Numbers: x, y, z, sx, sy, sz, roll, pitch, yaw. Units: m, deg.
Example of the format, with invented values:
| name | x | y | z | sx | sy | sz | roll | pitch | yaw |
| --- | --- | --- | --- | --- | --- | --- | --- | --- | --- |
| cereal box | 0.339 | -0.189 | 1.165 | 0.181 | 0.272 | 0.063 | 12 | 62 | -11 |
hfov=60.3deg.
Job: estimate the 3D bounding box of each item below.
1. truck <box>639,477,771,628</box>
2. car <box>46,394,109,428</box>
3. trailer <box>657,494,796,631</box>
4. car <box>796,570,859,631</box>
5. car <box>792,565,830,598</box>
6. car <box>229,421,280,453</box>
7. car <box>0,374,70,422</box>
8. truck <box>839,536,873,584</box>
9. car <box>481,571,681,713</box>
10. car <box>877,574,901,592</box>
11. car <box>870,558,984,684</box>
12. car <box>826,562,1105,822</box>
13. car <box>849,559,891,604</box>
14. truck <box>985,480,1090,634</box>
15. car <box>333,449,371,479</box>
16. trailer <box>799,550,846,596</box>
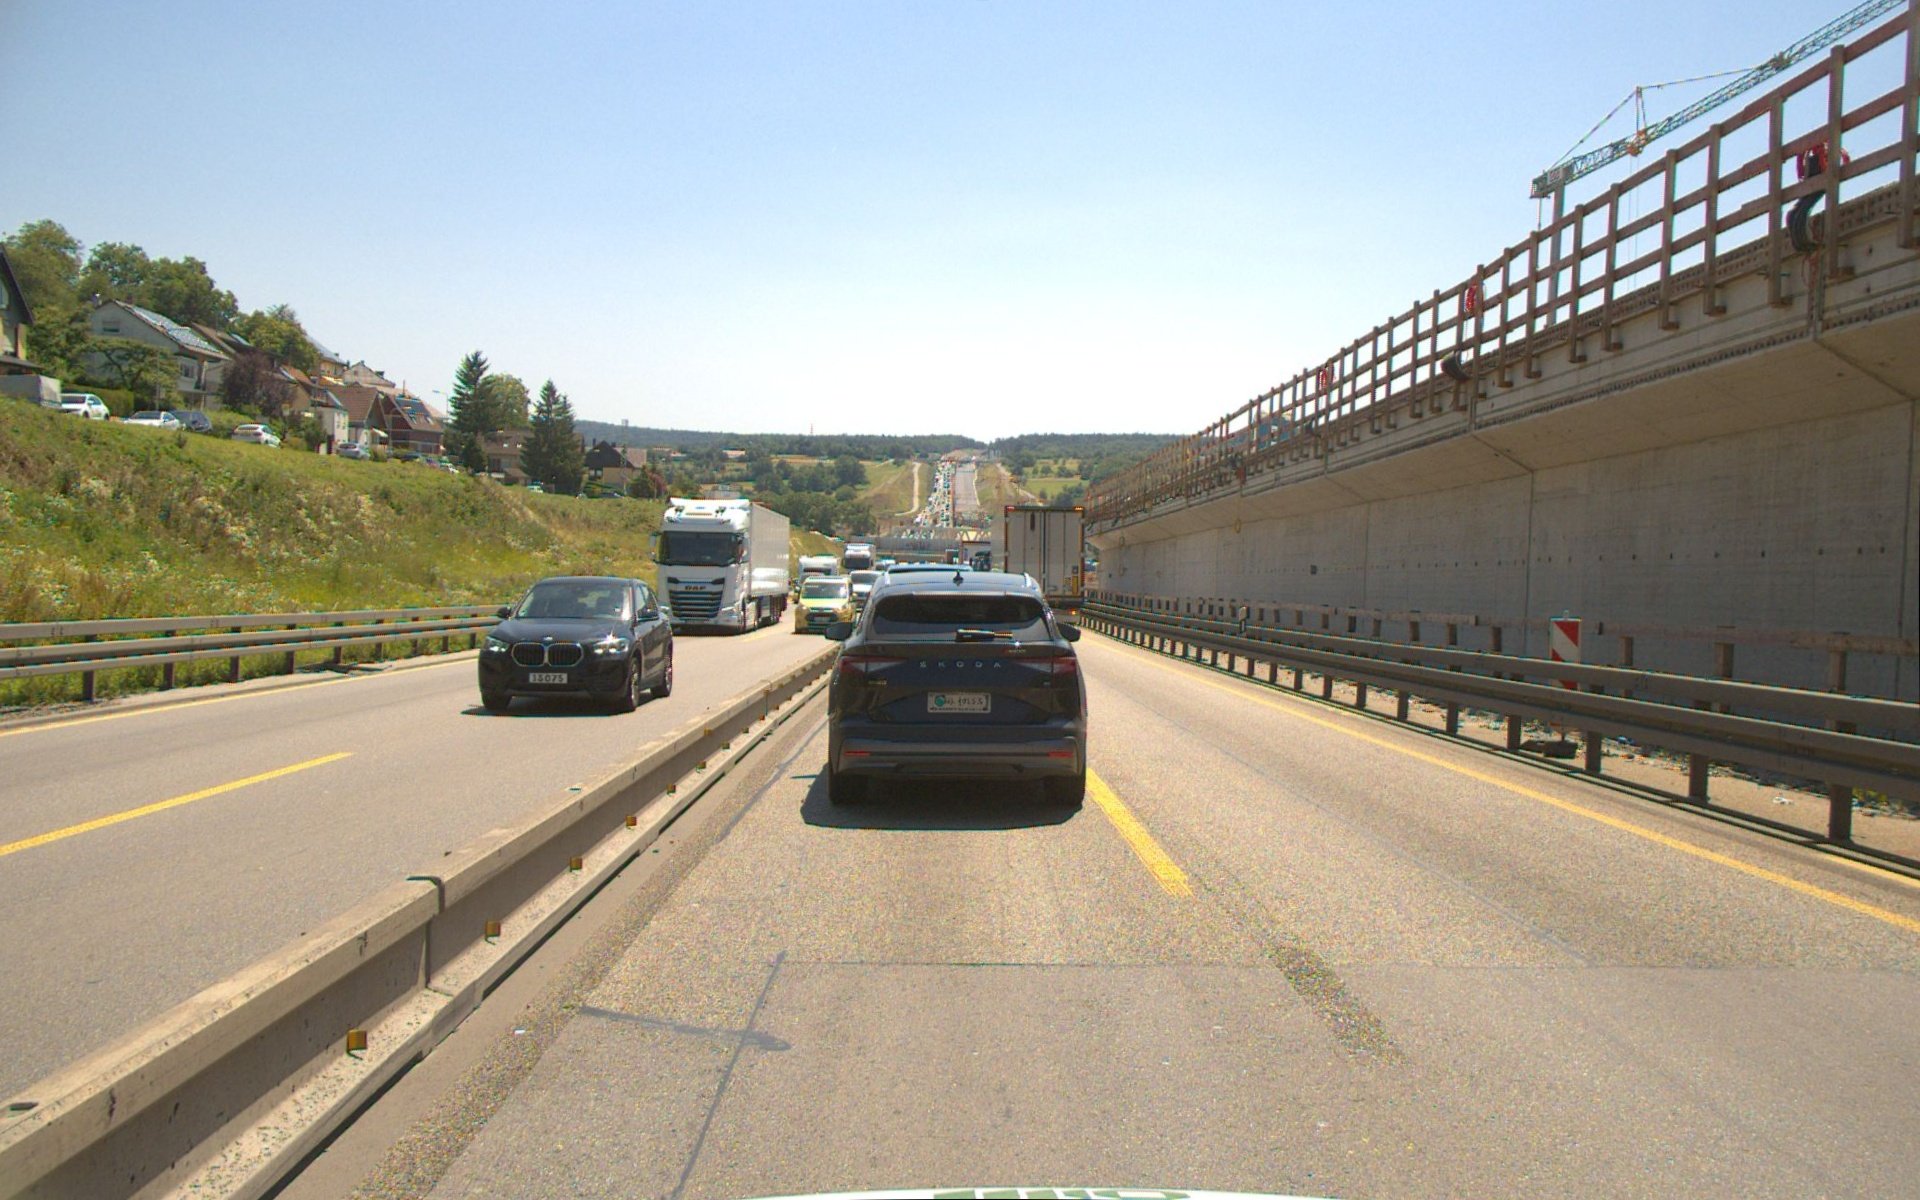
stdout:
| name | x | y | z | sx | sy | sz | roll | pitch | yaw |
| --- | --- | --- | --- | --- | --- | --- | --- | --- | --- |
| truck | -7.797 | -1.364 | 51.405 | 3.116 | 4.312 | 6.483 | 1 | 0 | -1 |
| car | -37.682 | -8.058 | 70.707 | 1.256 | 1.057 | 3.270 | 1 | 0 | -7 |
| trailer | -7.909 | -1.216 | 58.074 | 3.155 | 4.231 | 13.405 | 1 | 0 | -1 |
| car | -4.227 | -0.014 | 53.258 | 1.739 | 1.852 | 4.432 | 1 | 0 | -1 |
| car | -8.299 | -1.029 | 92.514 | 1.712 | 1.612 | 3.999 | 5 | -1 | -1 |
| car | -41.635 | -9.613 | 97.671 | 1.959 | 1.342 | 3.988 | 5 | -1 | -12 |
| car | -37.134 | -8.074 | 66.363 | 1.700 | 1.422 | 3.783 | 3 | 0 | -17 |
| truck | -9.819 | -3.728 | 156.362 | 2.697 | 4.301 | 8.099 | 1 | 0 | 0 |
| car | -4.640 | 0.458 | 20.791 | 1.665 | 1.588 | 4.102 | 1 | 0 | -2 |
| car | -5.860 | -1.380 | 136.539 | 1.735 | 1.311 | 3.999 | 2 | -1 | 0 |
| car | -0.631 | 0.332 | 28.506 | 1.715 | 1.928 | 3.752 | 3 | 0 | -4 |
| car | -0.034 | 0.581 | 12.373 | 1.747 | 1.625 | 3.753 | 1 | 0 | -2 |
| car | -4.338 | -0.857 | 80.331 | 1.825 | 2.049 | 4.804 | 1 | 0 | -1 |
| truck | 2.498 | -1.279 | 57.340 | 2.788 | 4.696 | 11.808 | 2 | -1 | -1 |
| car | -43.184 | -9.635 | 117.511 | 1.891 | 1.758 | 3.989 | 1 | 0 | -11 |
| trailer | -8.355 | -1.583 | 100.956 | 2.434 | 2.659 | 5.866 | 0 | -1 | 0 |
